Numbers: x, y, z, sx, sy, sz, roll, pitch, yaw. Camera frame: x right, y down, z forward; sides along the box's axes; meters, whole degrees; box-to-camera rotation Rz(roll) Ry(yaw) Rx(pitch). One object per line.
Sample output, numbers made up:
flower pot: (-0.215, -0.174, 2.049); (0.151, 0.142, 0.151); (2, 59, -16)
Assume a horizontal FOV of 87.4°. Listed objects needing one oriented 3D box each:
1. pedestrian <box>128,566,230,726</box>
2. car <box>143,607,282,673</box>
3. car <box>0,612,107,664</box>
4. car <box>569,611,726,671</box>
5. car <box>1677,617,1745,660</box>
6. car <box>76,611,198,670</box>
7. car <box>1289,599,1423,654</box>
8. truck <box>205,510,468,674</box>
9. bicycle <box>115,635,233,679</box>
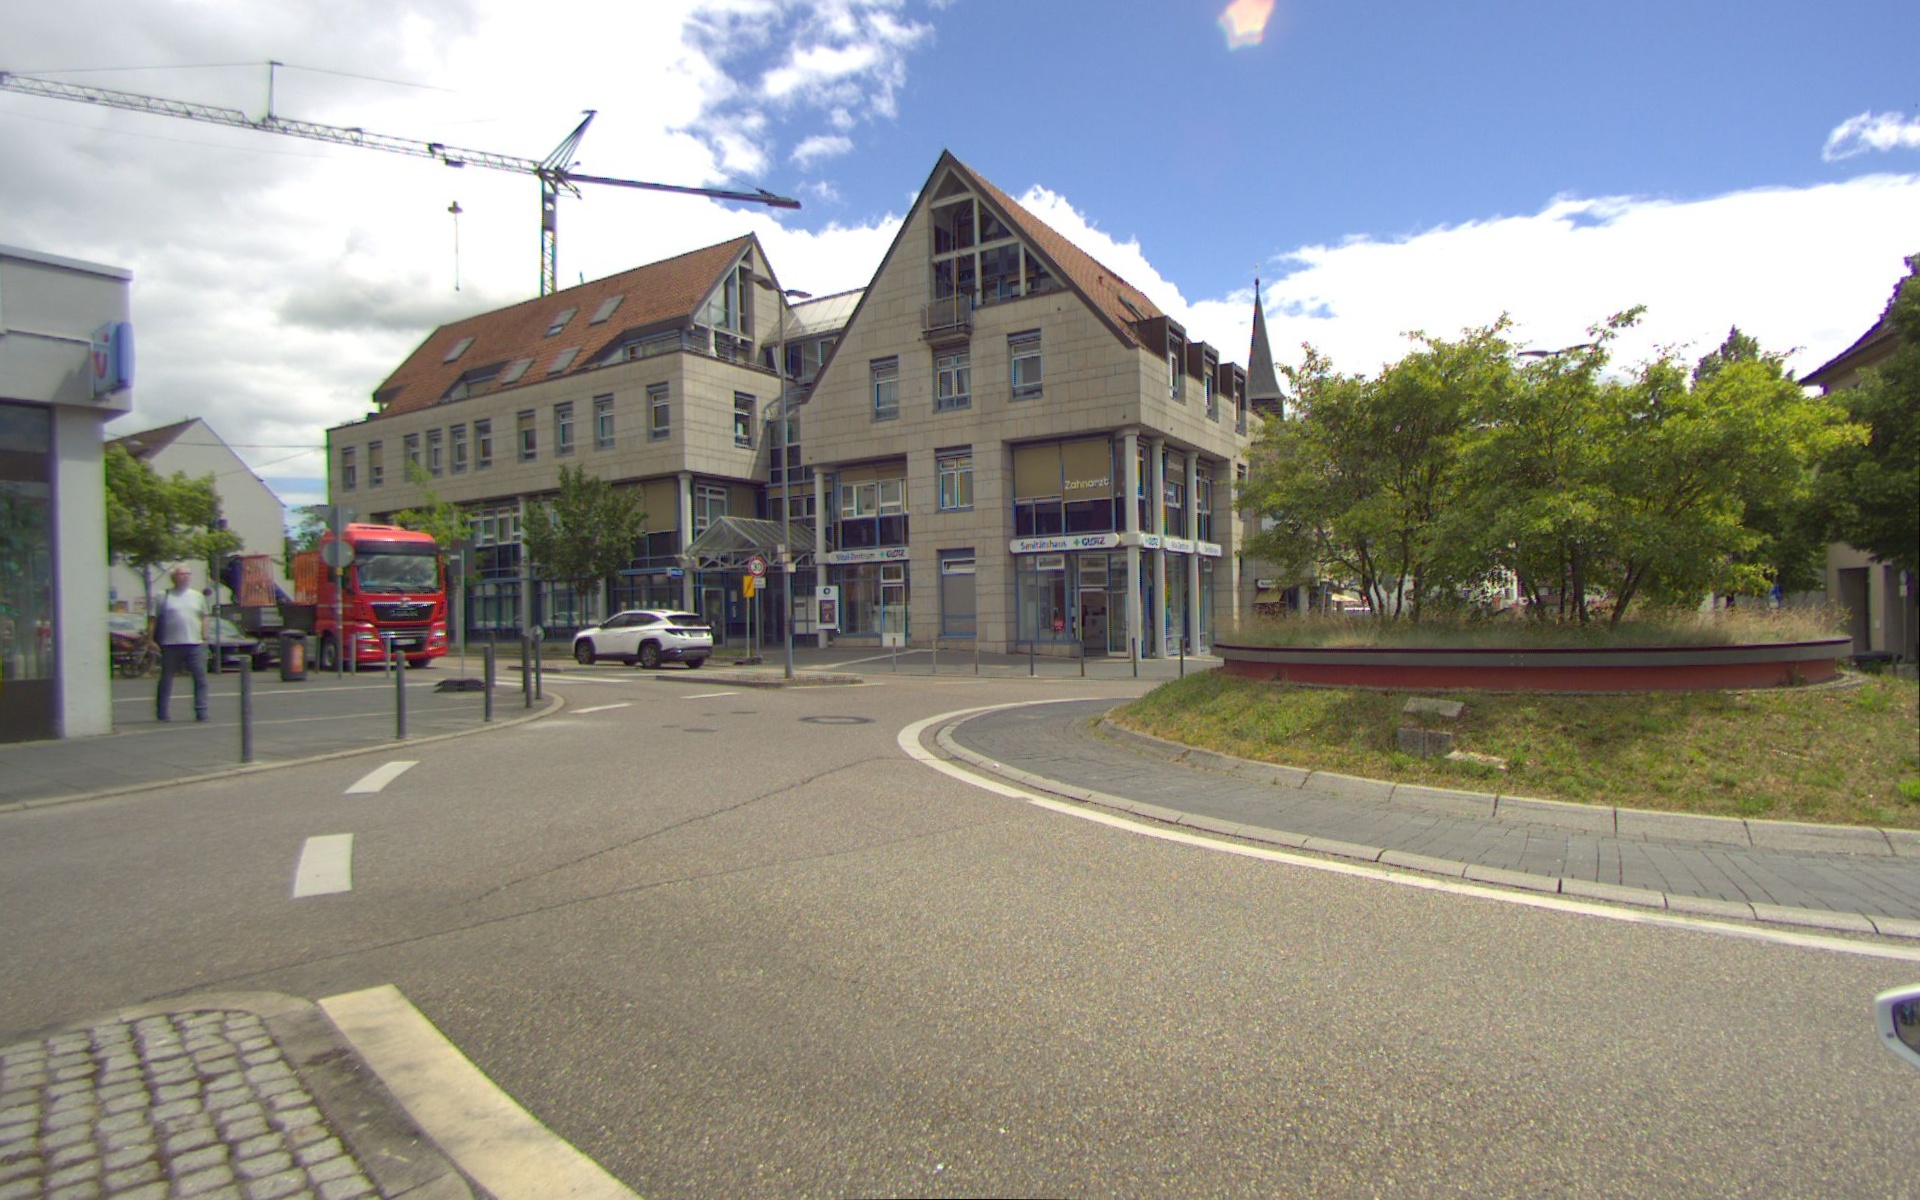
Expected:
pedestrian: (-9.684, 0.555, 12.463); (0.669, 1.900, 0.804); (0, -1, 31)
car: (-19.638, 1.023, 26.321); (4.307, 1.601, 1.856); (-1, -2, 38)
car: (-29.973, 1.212, 32.632); (4.293, 1.586, 1.862); (0, -2, 26)
car: (-8.958, 1.134, 28.726); (4.297, 1.601, 1.861); (0, -2, 30)
car: (29.143, 1.451, 39.067); (1.951, 1.550, 3.988); (0, -1, 35)
car: (-24.179, 1.168, 29.467); (4.307, 1.601, 1.856); (-1, -2, 38)
car: (20.090, 1.356, 51.245); (6.179, 2.593, 2.208); (1, -3, 17)
truck: (-18.450, -0.115, 29.335); (10.427, 4.081, 2.956); (-1, -2, 37)
bicycle: (-17.998, 1.294, 23.058); (0.514, 0.958, 2.058); (-1, -2, 38)
